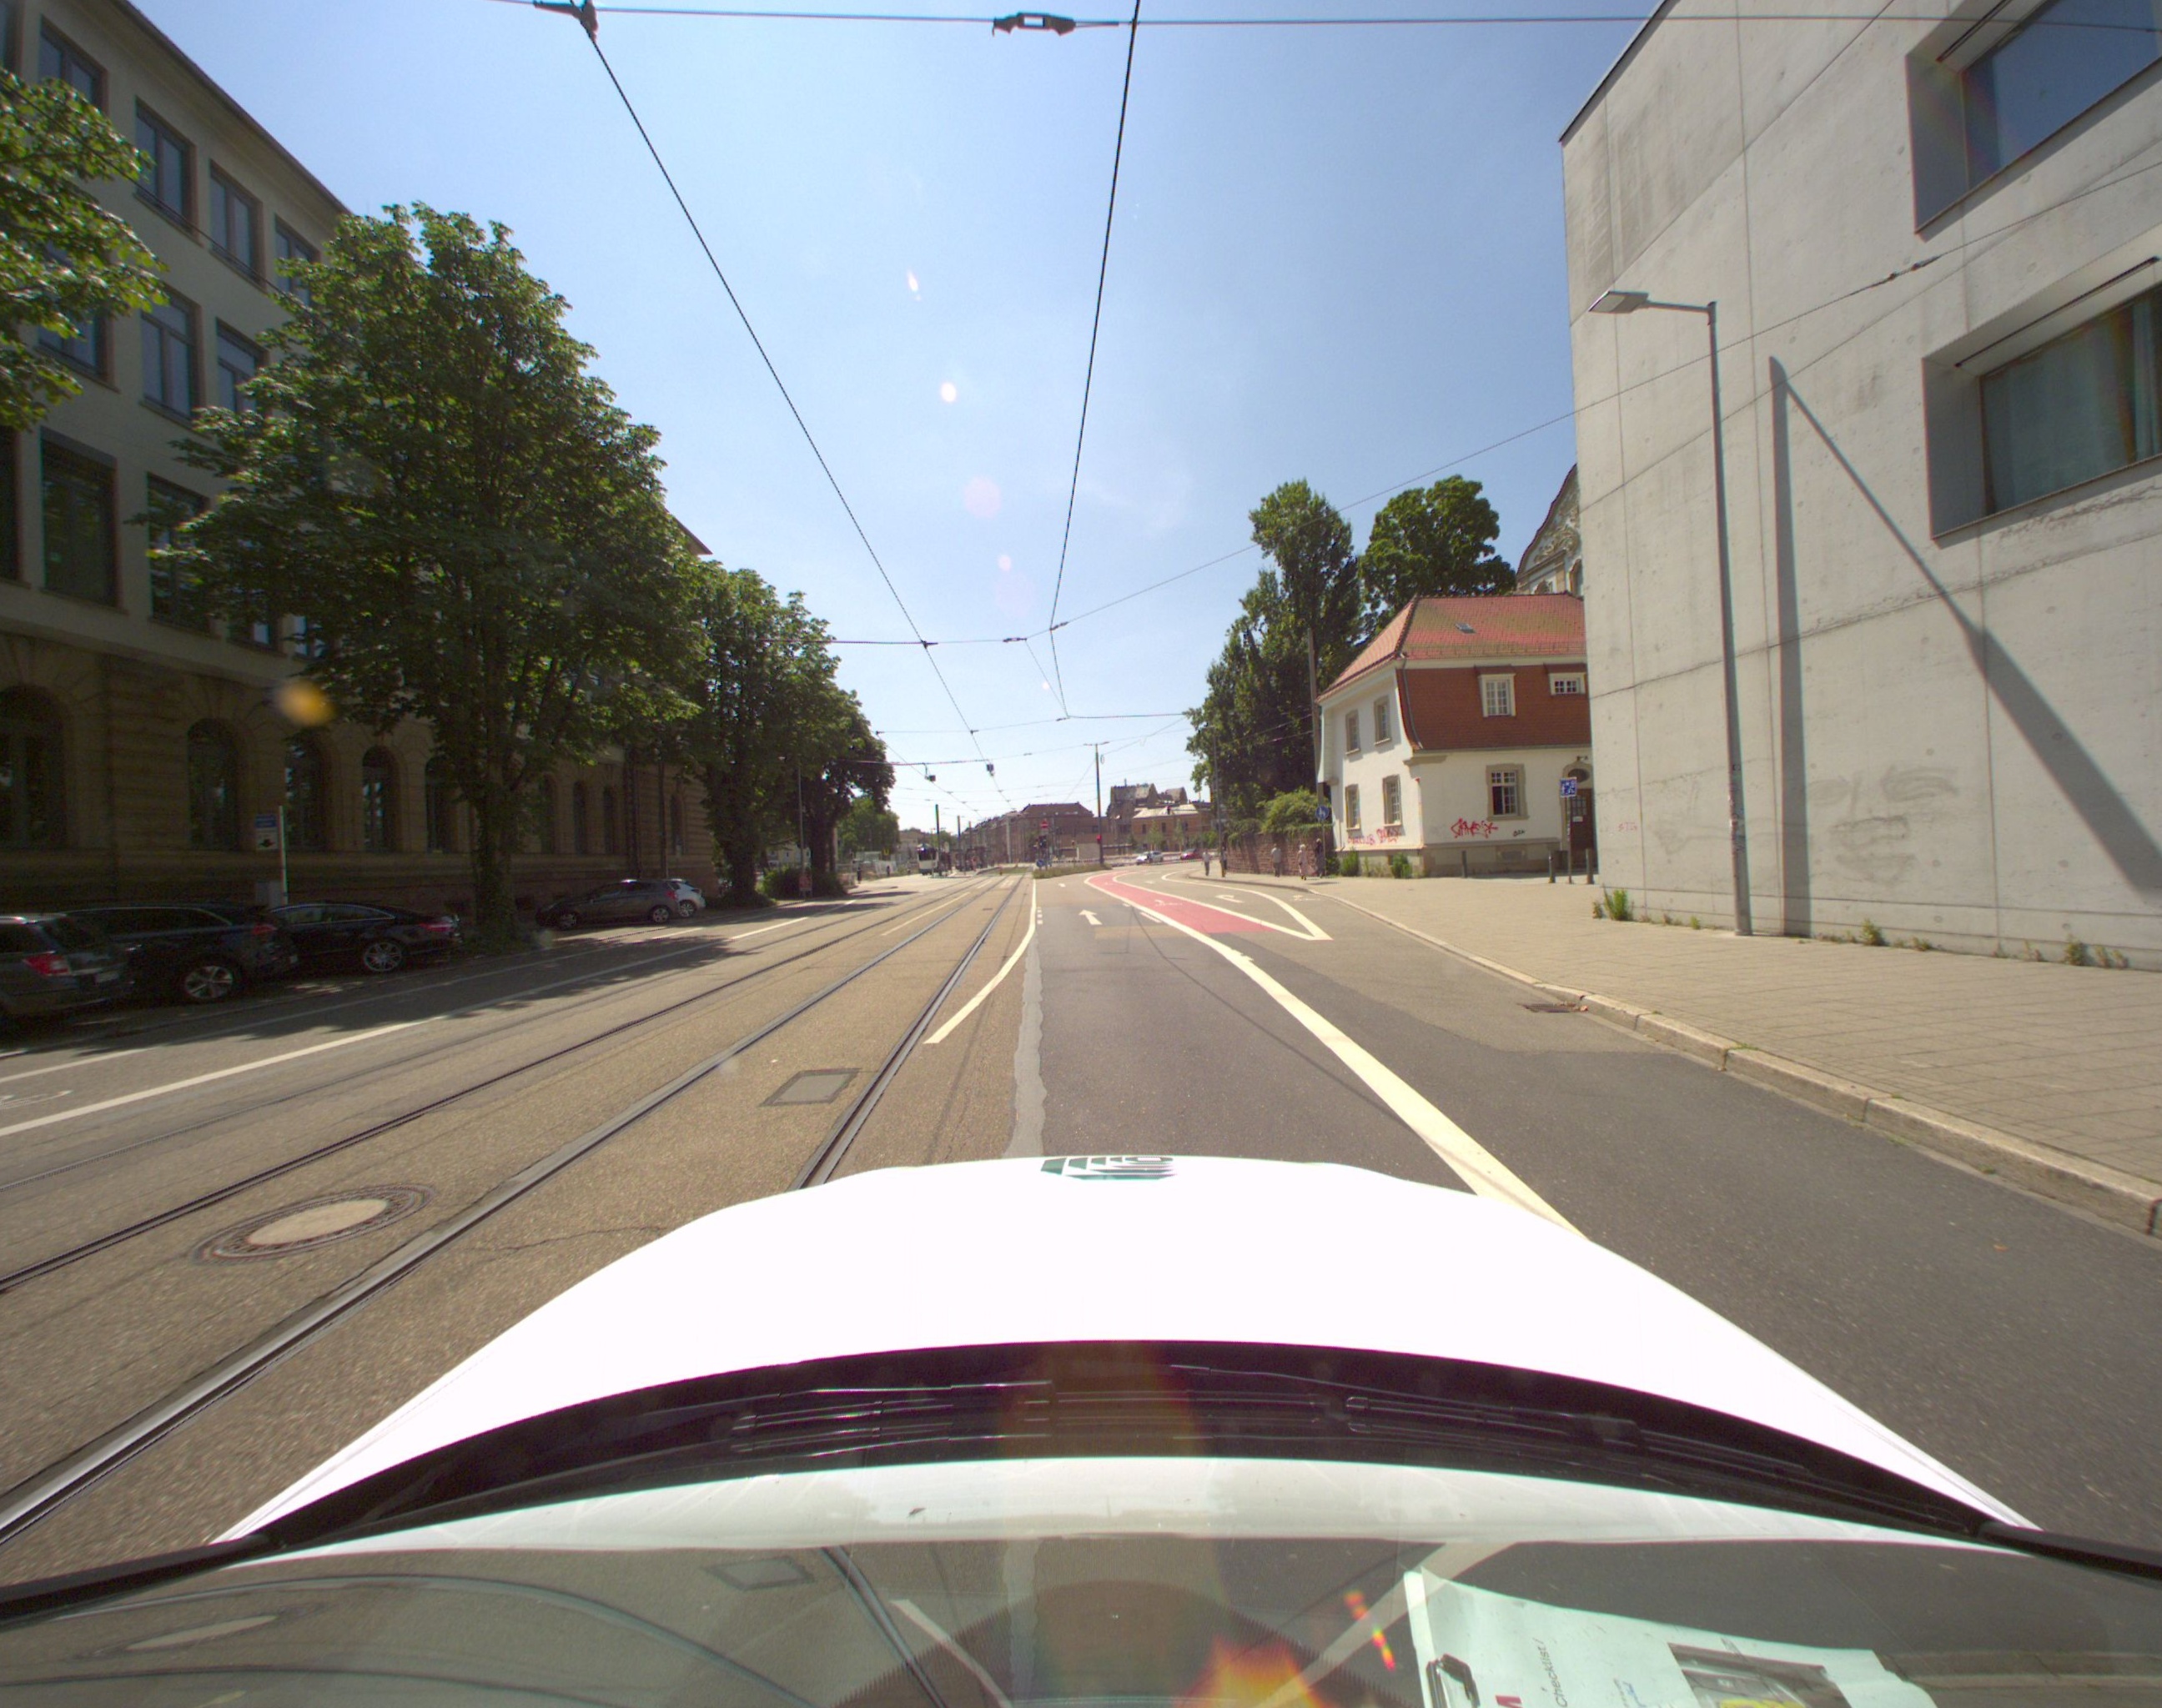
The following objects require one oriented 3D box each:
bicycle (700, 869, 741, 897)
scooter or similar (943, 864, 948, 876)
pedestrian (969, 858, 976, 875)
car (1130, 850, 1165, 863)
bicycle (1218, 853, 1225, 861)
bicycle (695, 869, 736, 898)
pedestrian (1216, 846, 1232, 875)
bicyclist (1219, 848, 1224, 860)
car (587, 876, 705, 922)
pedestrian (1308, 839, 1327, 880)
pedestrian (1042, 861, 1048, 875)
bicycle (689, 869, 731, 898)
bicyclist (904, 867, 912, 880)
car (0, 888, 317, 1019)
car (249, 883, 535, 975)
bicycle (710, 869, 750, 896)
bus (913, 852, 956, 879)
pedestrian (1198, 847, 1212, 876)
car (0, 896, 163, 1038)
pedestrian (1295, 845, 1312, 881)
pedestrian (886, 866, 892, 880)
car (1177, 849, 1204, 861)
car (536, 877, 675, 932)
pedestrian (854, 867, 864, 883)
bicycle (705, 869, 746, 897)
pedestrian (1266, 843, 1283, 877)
[{"bbox_3d":[-22.760,1.839,51.483,2.312,1.692,0.552,-2,-2,2],"label":"bicycle"},{"bbox_3d":[-13.528,1.612,81.298,0.318,1.206,1.245,-3,-1,-8],"label":"scooter or similar"},{"bbox_3d":[-12.482,1.480,93.762,0.673,1.909,0.637,-3,-1,-13],"label":"pedestrian"},{"bbox_3d":[7.675,0.291,93.626,1.974,1.438,4.735,-3,-1,32],"label":"car"},{"bbox_3d":[20.532,0.464,118.912,0.394,1.174,1.781,-4,-4,30],"label":"bicycle"},{"bbox_3d":[-22.832,1.835,50.881,2.312,1.692,0.552,-2,-2,2],"label":"bicycle"},{"bbox_3d":[9.092,0.418,51.771,0.811,1.808,0.700,-3,-1,1],"label":"pedestrian"},{"bbox_3d":[20.555,-0.031,118.976,0.561,1.719,0.510,-3,-3,30],"label":"bicyclist"},{"bbox_3d":[-15.277,1.542,28.631,3.562,1.406,1.685,-1,-1,-32],"label":"car"},{"bbox_3d":[10.362,0.227,35.734,0.624,1.773,0.719,-1,-1,5],"label":"pedestrian"},{"bbox_3d":[-4.426,1.722,99.770,0.527,1.675,0.749,-2,-2,-11],"label":"pedestrian"},{"bbox_3d":[-22.874,1.830,50.250,2.312,1.692,0.552,-2,-2,2],"label":"bicycle"},{"bbox_3d":[-22.114,2.503,104.166,0.819,1.709,0.769,-2,-1,-5],"label":"bicyclist"},{"bbox_3d":[-14.207,1.417,12.116,3.833,1.577,1.775,-2,0,-33],"label":"car"},{"bbox_3d":[-13.083,1.359,15.814,3.945,1.374,1.653,-3,0,-29],"label":"car"},{"bbox_3d":[-22.691,1.848,52.706,2.312,1.692,0.552,-2,-2,2],"label":"bicycle"},{"bbox_3d":[-18.712,1.400,105.193,3.003,3.158,17.480,-3,0,-3],"label":"bus"},{"bbox_3d":[7.858,0.486,51.540,0.675,1.808,0.748,-3,-1,1],"label":"pedestrian"},{"bbox_3d":[-14.066,1.369,9.365,4.338,1.584,1.652,-1,-1,-33],"label":"car"},{"bbox_3d":[9.664,0.379,35.384,0.513,1.533,0.598,-3,-1,2],"label":"pedestrian"},{"bbox_3d":[-23.014,2.261,97.557,0.566,1.705,0.396,-2,-1,-11],"label":"pedestrian"},{"bbox_3d":[13.922,0.168,103.510,1.714,1.425,4.150,-3,-1,33],"label":"car"},{"bbox_3d":[-14.906,1.529,25.644,3.689,1.520,1.652,-1,-1,-32],"label":"car"},{"bbox_3d":[-21.877,2.076,80.201,0.602,1.602,0.827,-3,0,7],"label":"pedestrian"},{"bbox_3d":[-22.733,1.831,52.102,2.312,1.692,0.552,-2,-2,2],"label":"bicycle"},{"bbox_3d":[9.710,0.297,40.954,0.658,1.647,0.625,-3,-1,2],"label":"pedestrian"}]
